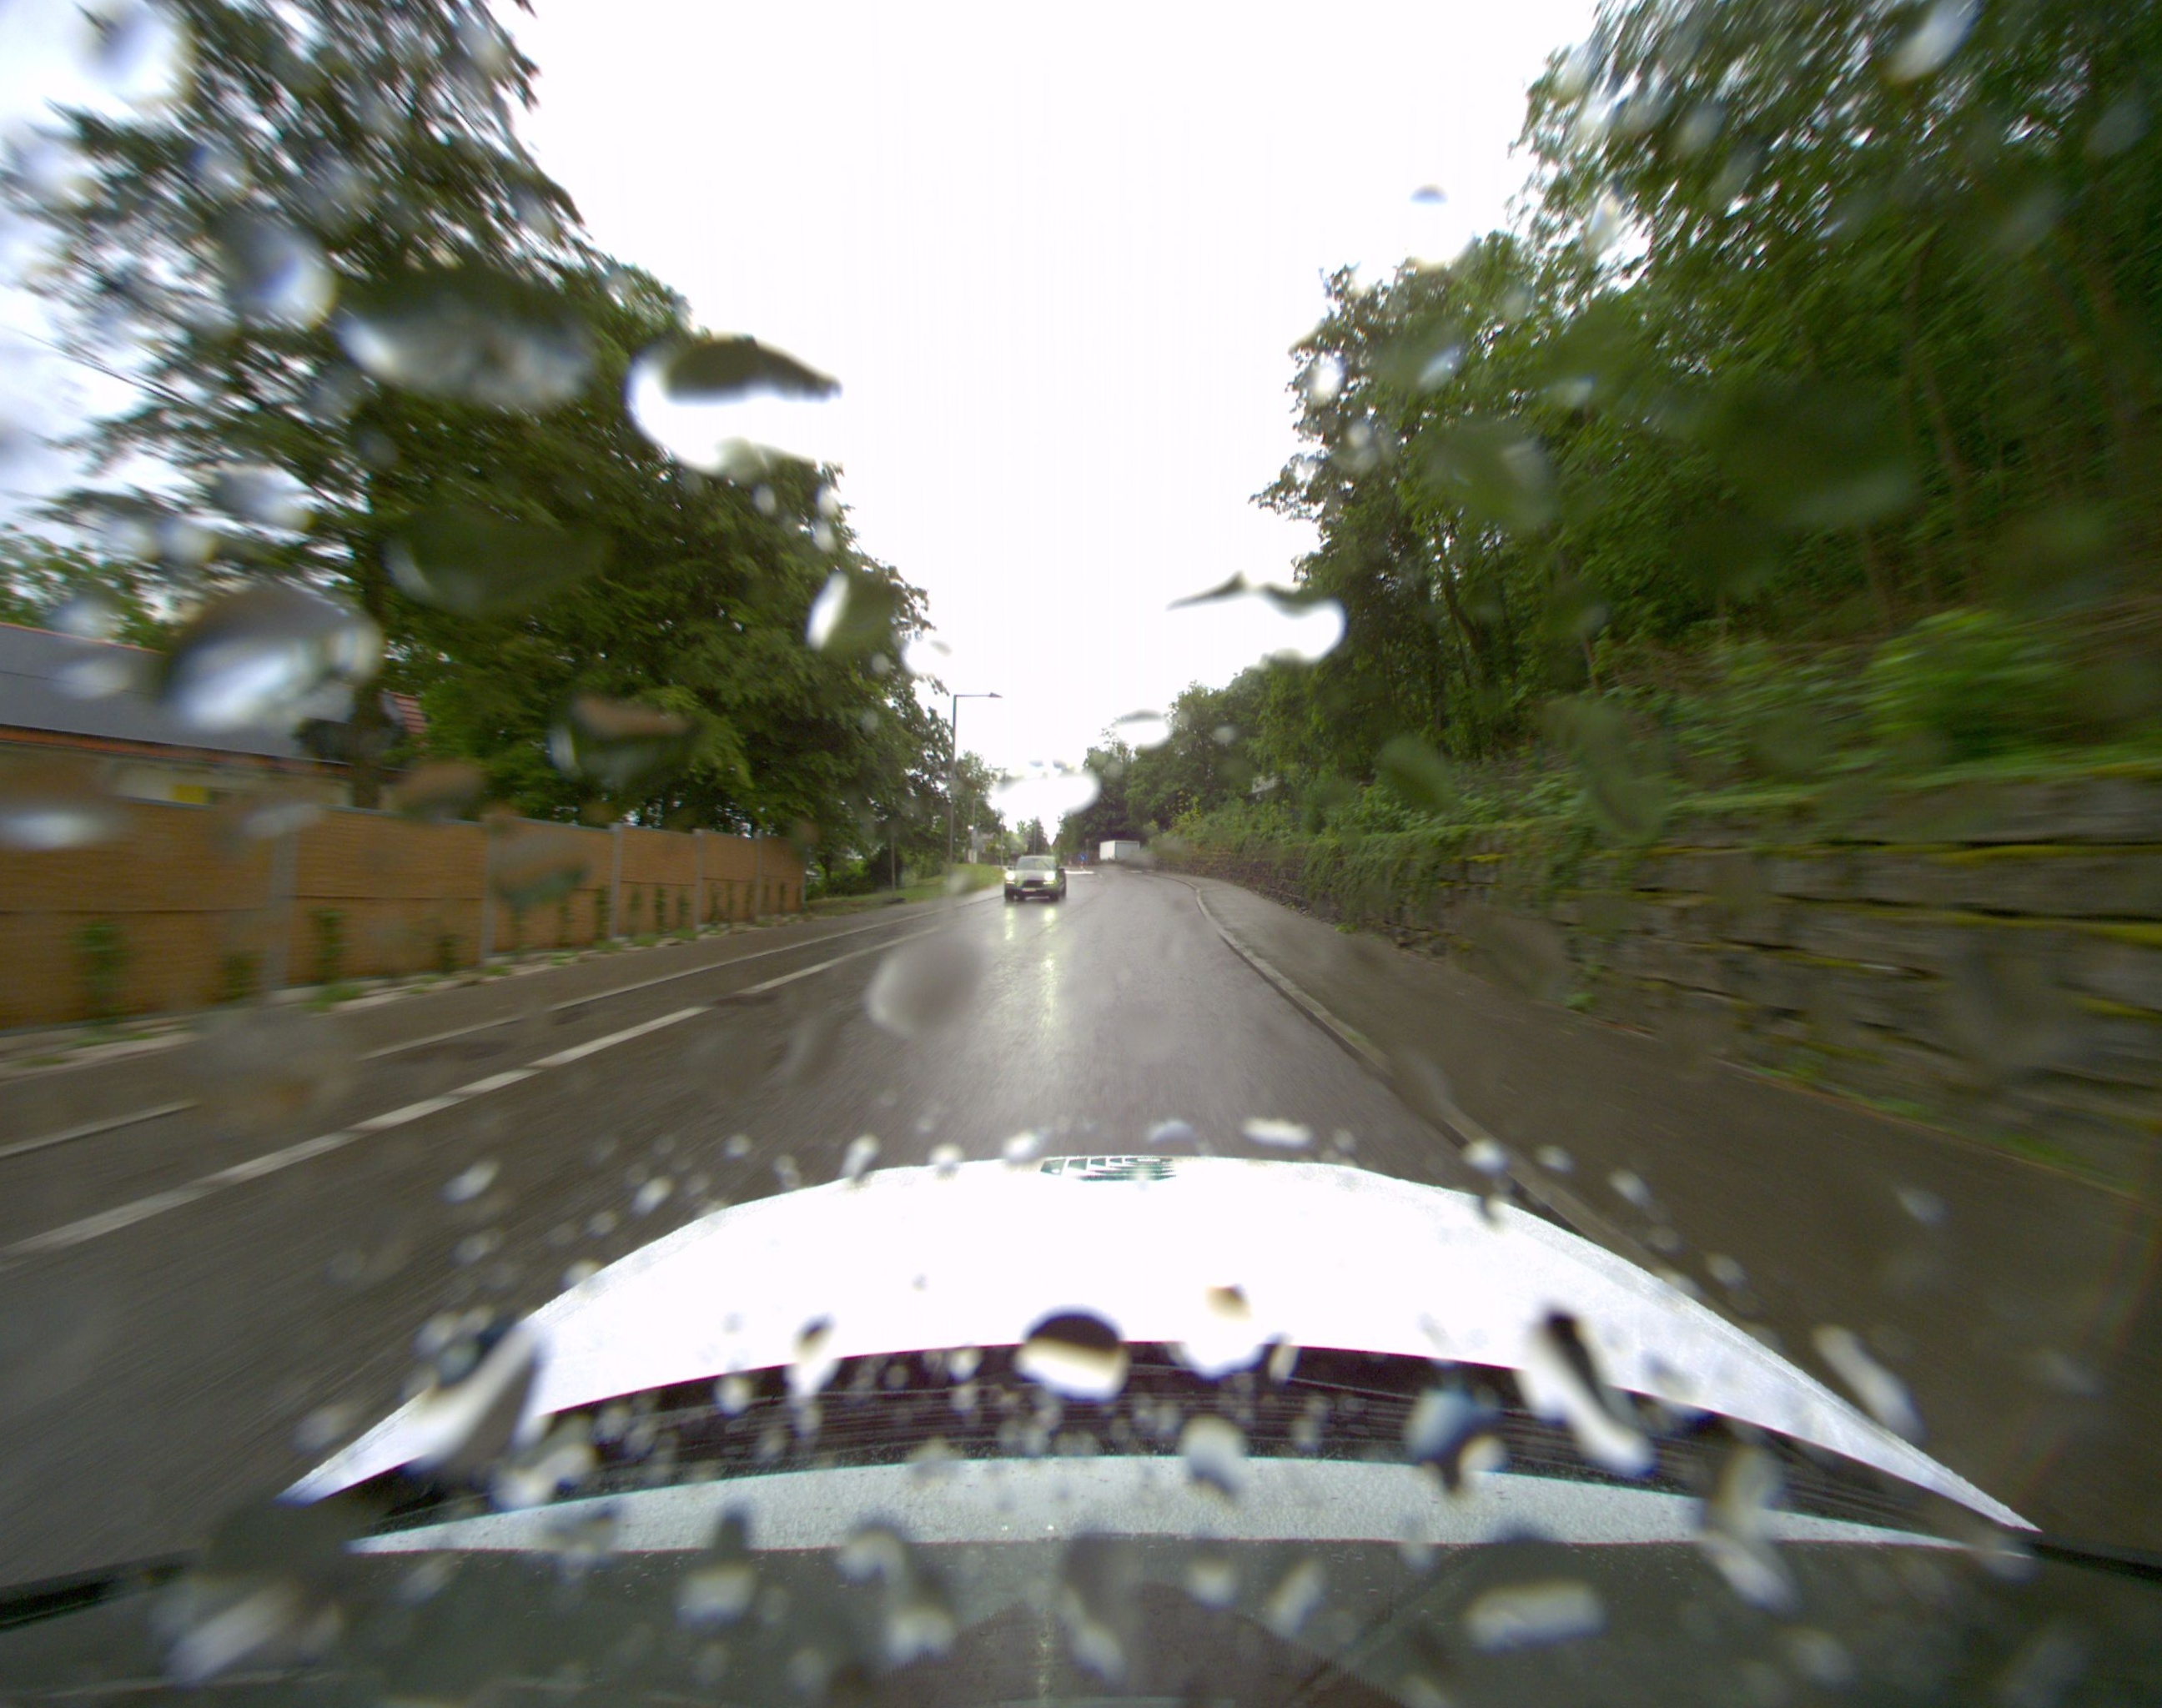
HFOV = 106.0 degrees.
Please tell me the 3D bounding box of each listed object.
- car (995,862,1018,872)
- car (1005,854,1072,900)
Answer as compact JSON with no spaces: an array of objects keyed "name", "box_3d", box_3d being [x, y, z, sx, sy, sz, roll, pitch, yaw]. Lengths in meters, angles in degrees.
[{"name":"car","box_3d":[-13.630,2.387,149.638,3.950,1.632,2.025,2,-2,44]},{"name":"car","box_3d":[-1.543,0.857,31.343,1.909,1.648,4.553,0,-1,6]}]
